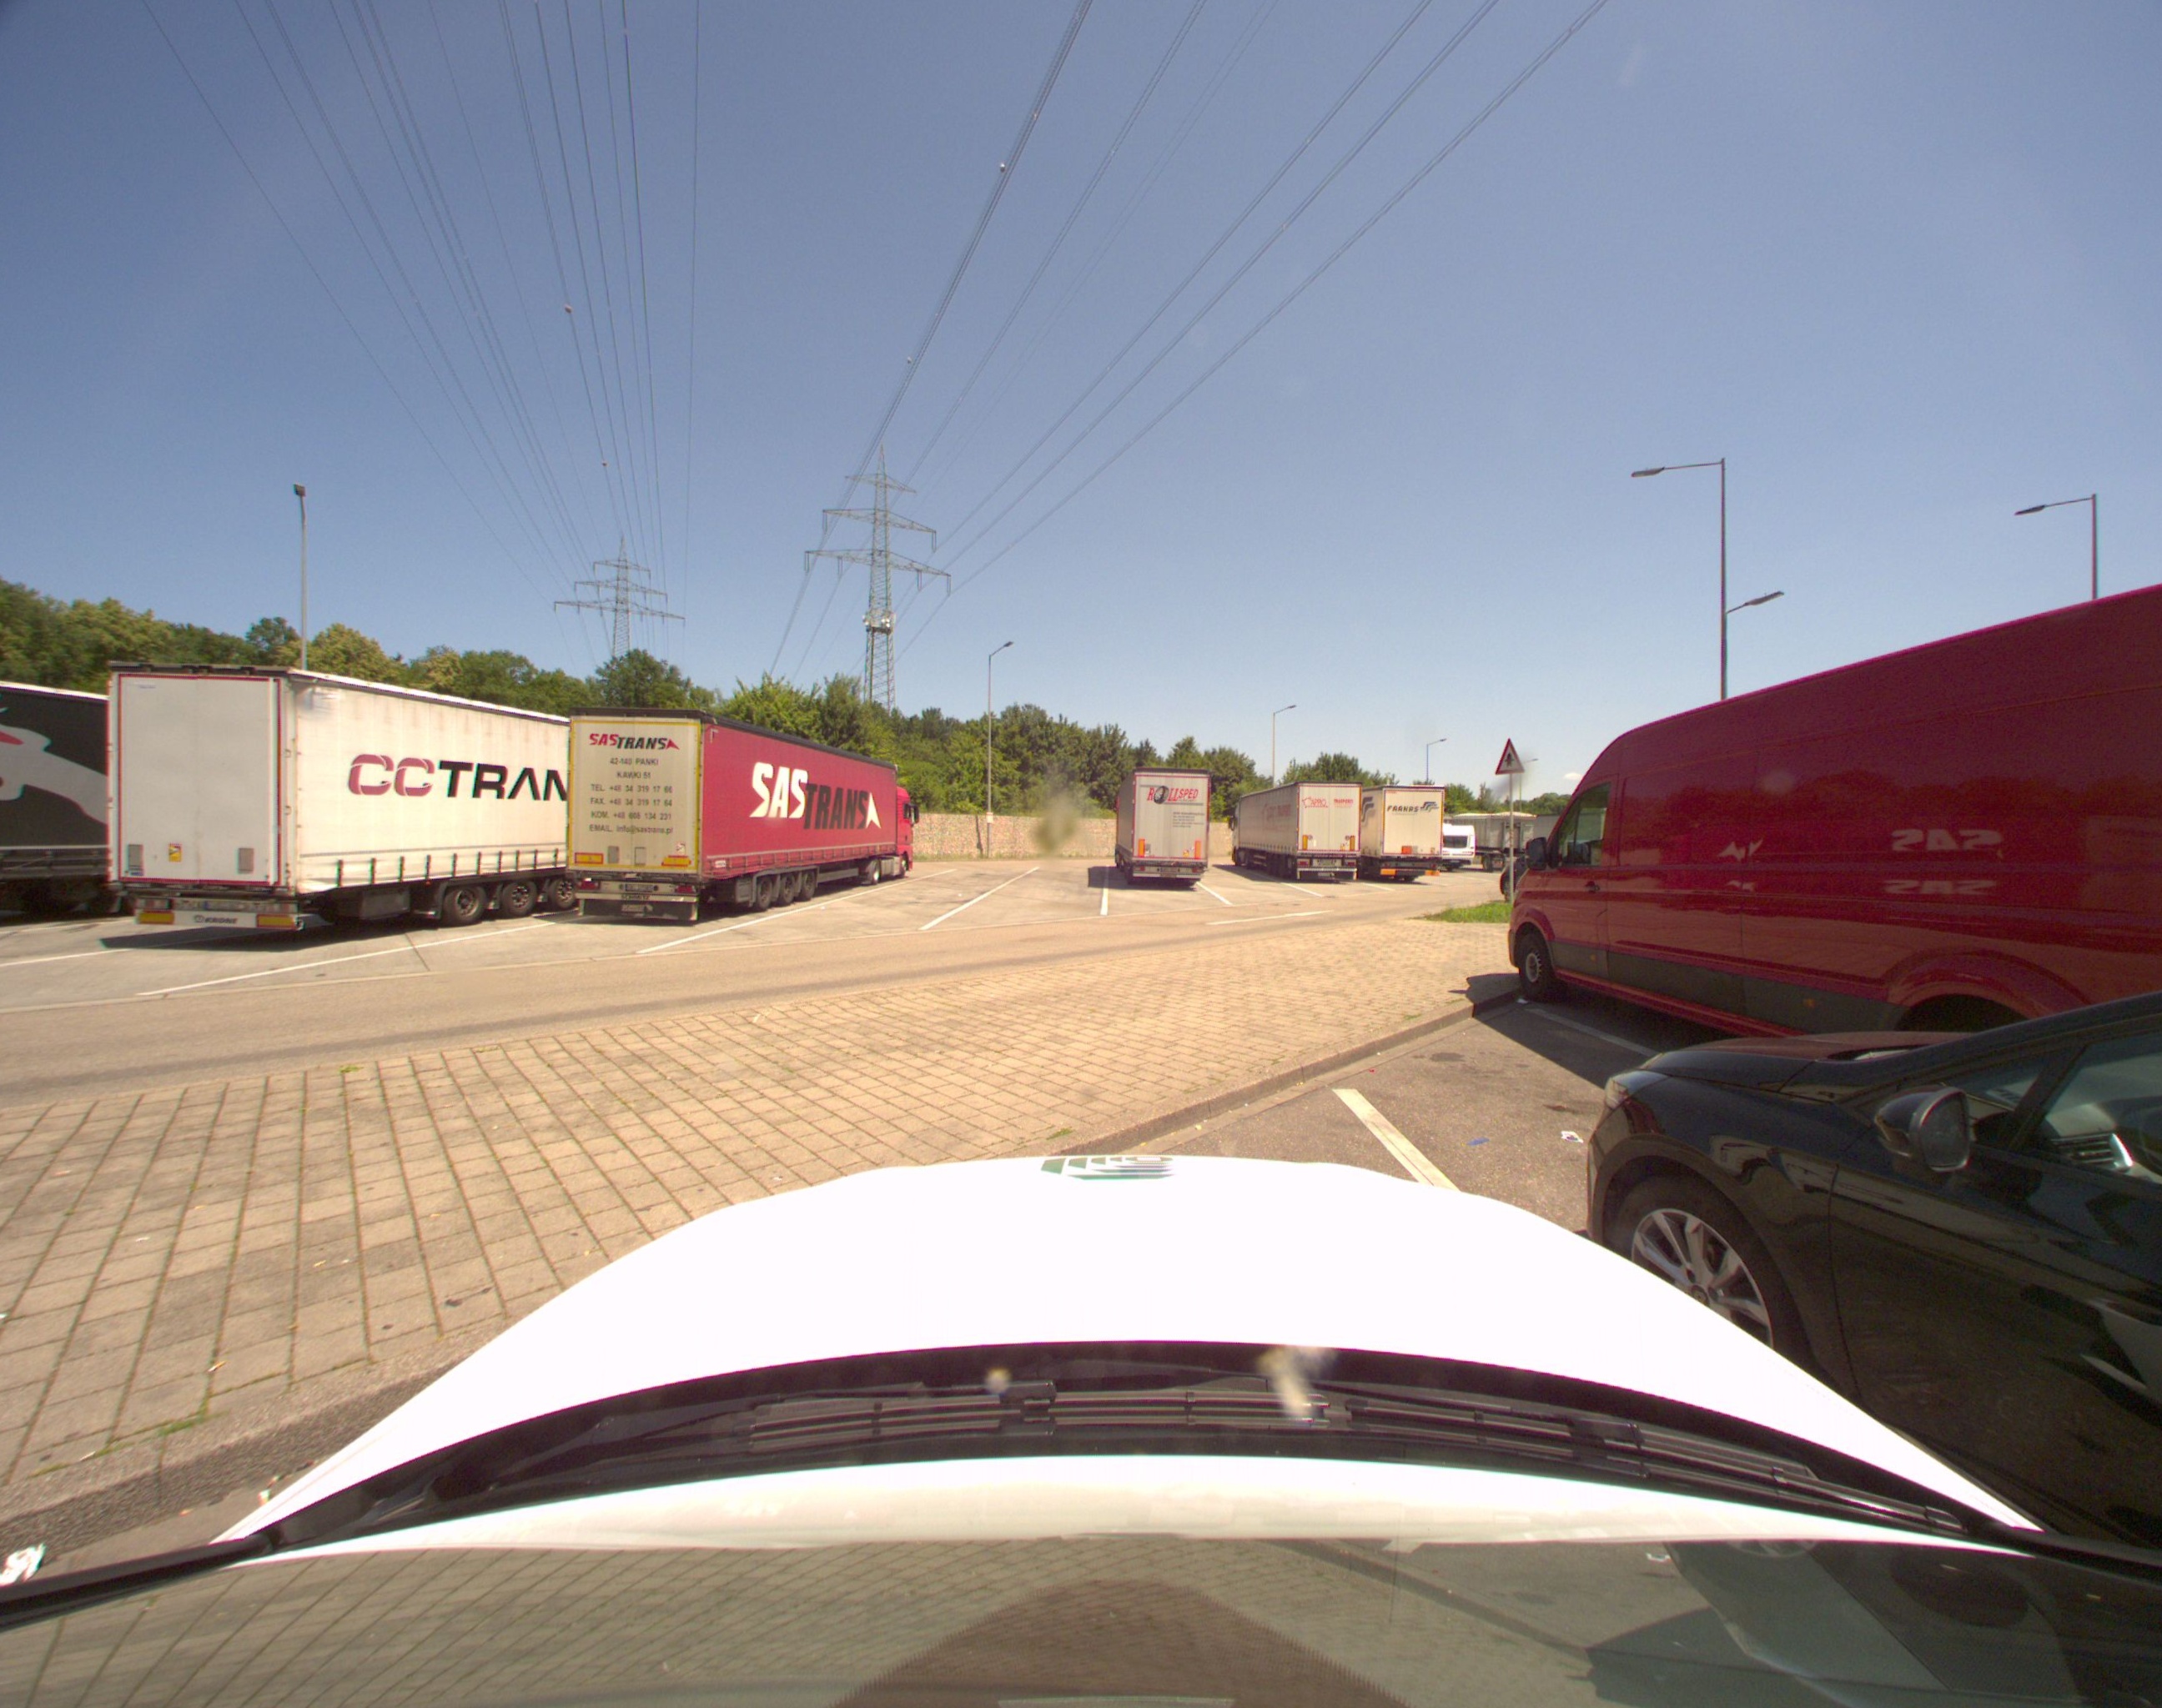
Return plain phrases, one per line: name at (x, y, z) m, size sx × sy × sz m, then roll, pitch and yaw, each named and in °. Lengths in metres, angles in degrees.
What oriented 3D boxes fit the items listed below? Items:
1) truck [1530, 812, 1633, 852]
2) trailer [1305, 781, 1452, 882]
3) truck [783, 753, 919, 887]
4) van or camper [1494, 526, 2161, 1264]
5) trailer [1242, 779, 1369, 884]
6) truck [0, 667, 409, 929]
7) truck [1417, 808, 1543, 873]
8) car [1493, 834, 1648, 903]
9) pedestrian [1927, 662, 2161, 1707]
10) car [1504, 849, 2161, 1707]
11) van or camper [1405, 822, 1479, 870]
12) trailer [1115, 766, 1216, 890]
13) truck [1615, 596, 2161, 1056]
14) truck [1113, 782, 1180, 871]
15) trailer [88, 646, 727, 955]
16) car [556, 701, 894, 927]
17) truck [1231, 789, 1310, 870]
truck at (38.036, -1.641, 62.379) m, size 2.117 × 2.820 × 9.783 m, roll -1°, pitch 1°, yaw 2°
trailer at (13.643, -1.123, 38.878) m, size 2.856 × 4.037 × 12.445 m, roll 1°, pitch 2°, yaw 2°
truck at (-7.748, -1.157, 28.351) m, size 2.686 × 4.112 × 6.243 m, roll 1°, pitch 2°, yaw 2°
van or camper at (5.139, 0.102, 5.494) m, size 1.986 × 2.654 × 6.490 m, roll -1°, pitch 1°, yaw 6°
trailer at (9.955, -1.104, 37.903) m, size 2.856 × 4.037 × 12.445 m, roll 1°, pitch 2°, yaw 2°
truck at (-18.617, -1.028, 16.271) m, size 2.803 × 4.190 × 8.793 m, roll 0°, pitch 2°, yaw 2°
truck at (24.302, -0.956, 50.501) m, size 2.478 × 3.568 × 11.429 m, roll 1°, pitch 2°, yaw 2°
car at (12.257, 0.305, 20.725) m, size 1.833 × 1.561 × 3.955 m, roll -1°, pitch 1°, yaw 5°
pedestrian at (1.375, 0.610, 0.755) m, size 0.646 × 1.586 × 0.653 m, roll 0°, pitch 1°, yaw 27°
car at (2.455, 0.757, 1.142) m, size 1.612 × 1.483 × 3.762 m, roll -1°, pitch 1°, yaw -4°
van or camper at (20.592, -0.465, 46.742) m, size 2.096 × 2.561 × 5.376 m, roll -1°, pitch 1°, yaw 3°
trailer at (3.047, -1.106, 33.730) m, size 2.857 × 4.037 × 14.244 m, roll 0°, pitch 2°, yaw 1°
truck at (7.940, -0.208, 7.066) m, size 2.455 × 2.792 × 6.978 m, roll 0°, pitch 1°, yaw 4°
truck at (3.140, -1.396, 40.818) m, size 2.857 × 4.037 × 7.029 m, roll 0°, pitch 2°, yaw 1°
trailer at (-12.162, -0.979, 17.790) m, size 2.803 × 4.266 × 12.947 m, roll 1°, pitch 2°, yaw 2°
car at (-8.048, -0.938, 21.434) m, size 2.686 × 4.112 × 12.943 m, roll 1°, pitch 2°, yaw 2°
truck at (10.182, -1.370, 44.535) m, size 2.856 × 4.037 × 6.960 m, roll 1°, pitch 2°, yaw 2°
